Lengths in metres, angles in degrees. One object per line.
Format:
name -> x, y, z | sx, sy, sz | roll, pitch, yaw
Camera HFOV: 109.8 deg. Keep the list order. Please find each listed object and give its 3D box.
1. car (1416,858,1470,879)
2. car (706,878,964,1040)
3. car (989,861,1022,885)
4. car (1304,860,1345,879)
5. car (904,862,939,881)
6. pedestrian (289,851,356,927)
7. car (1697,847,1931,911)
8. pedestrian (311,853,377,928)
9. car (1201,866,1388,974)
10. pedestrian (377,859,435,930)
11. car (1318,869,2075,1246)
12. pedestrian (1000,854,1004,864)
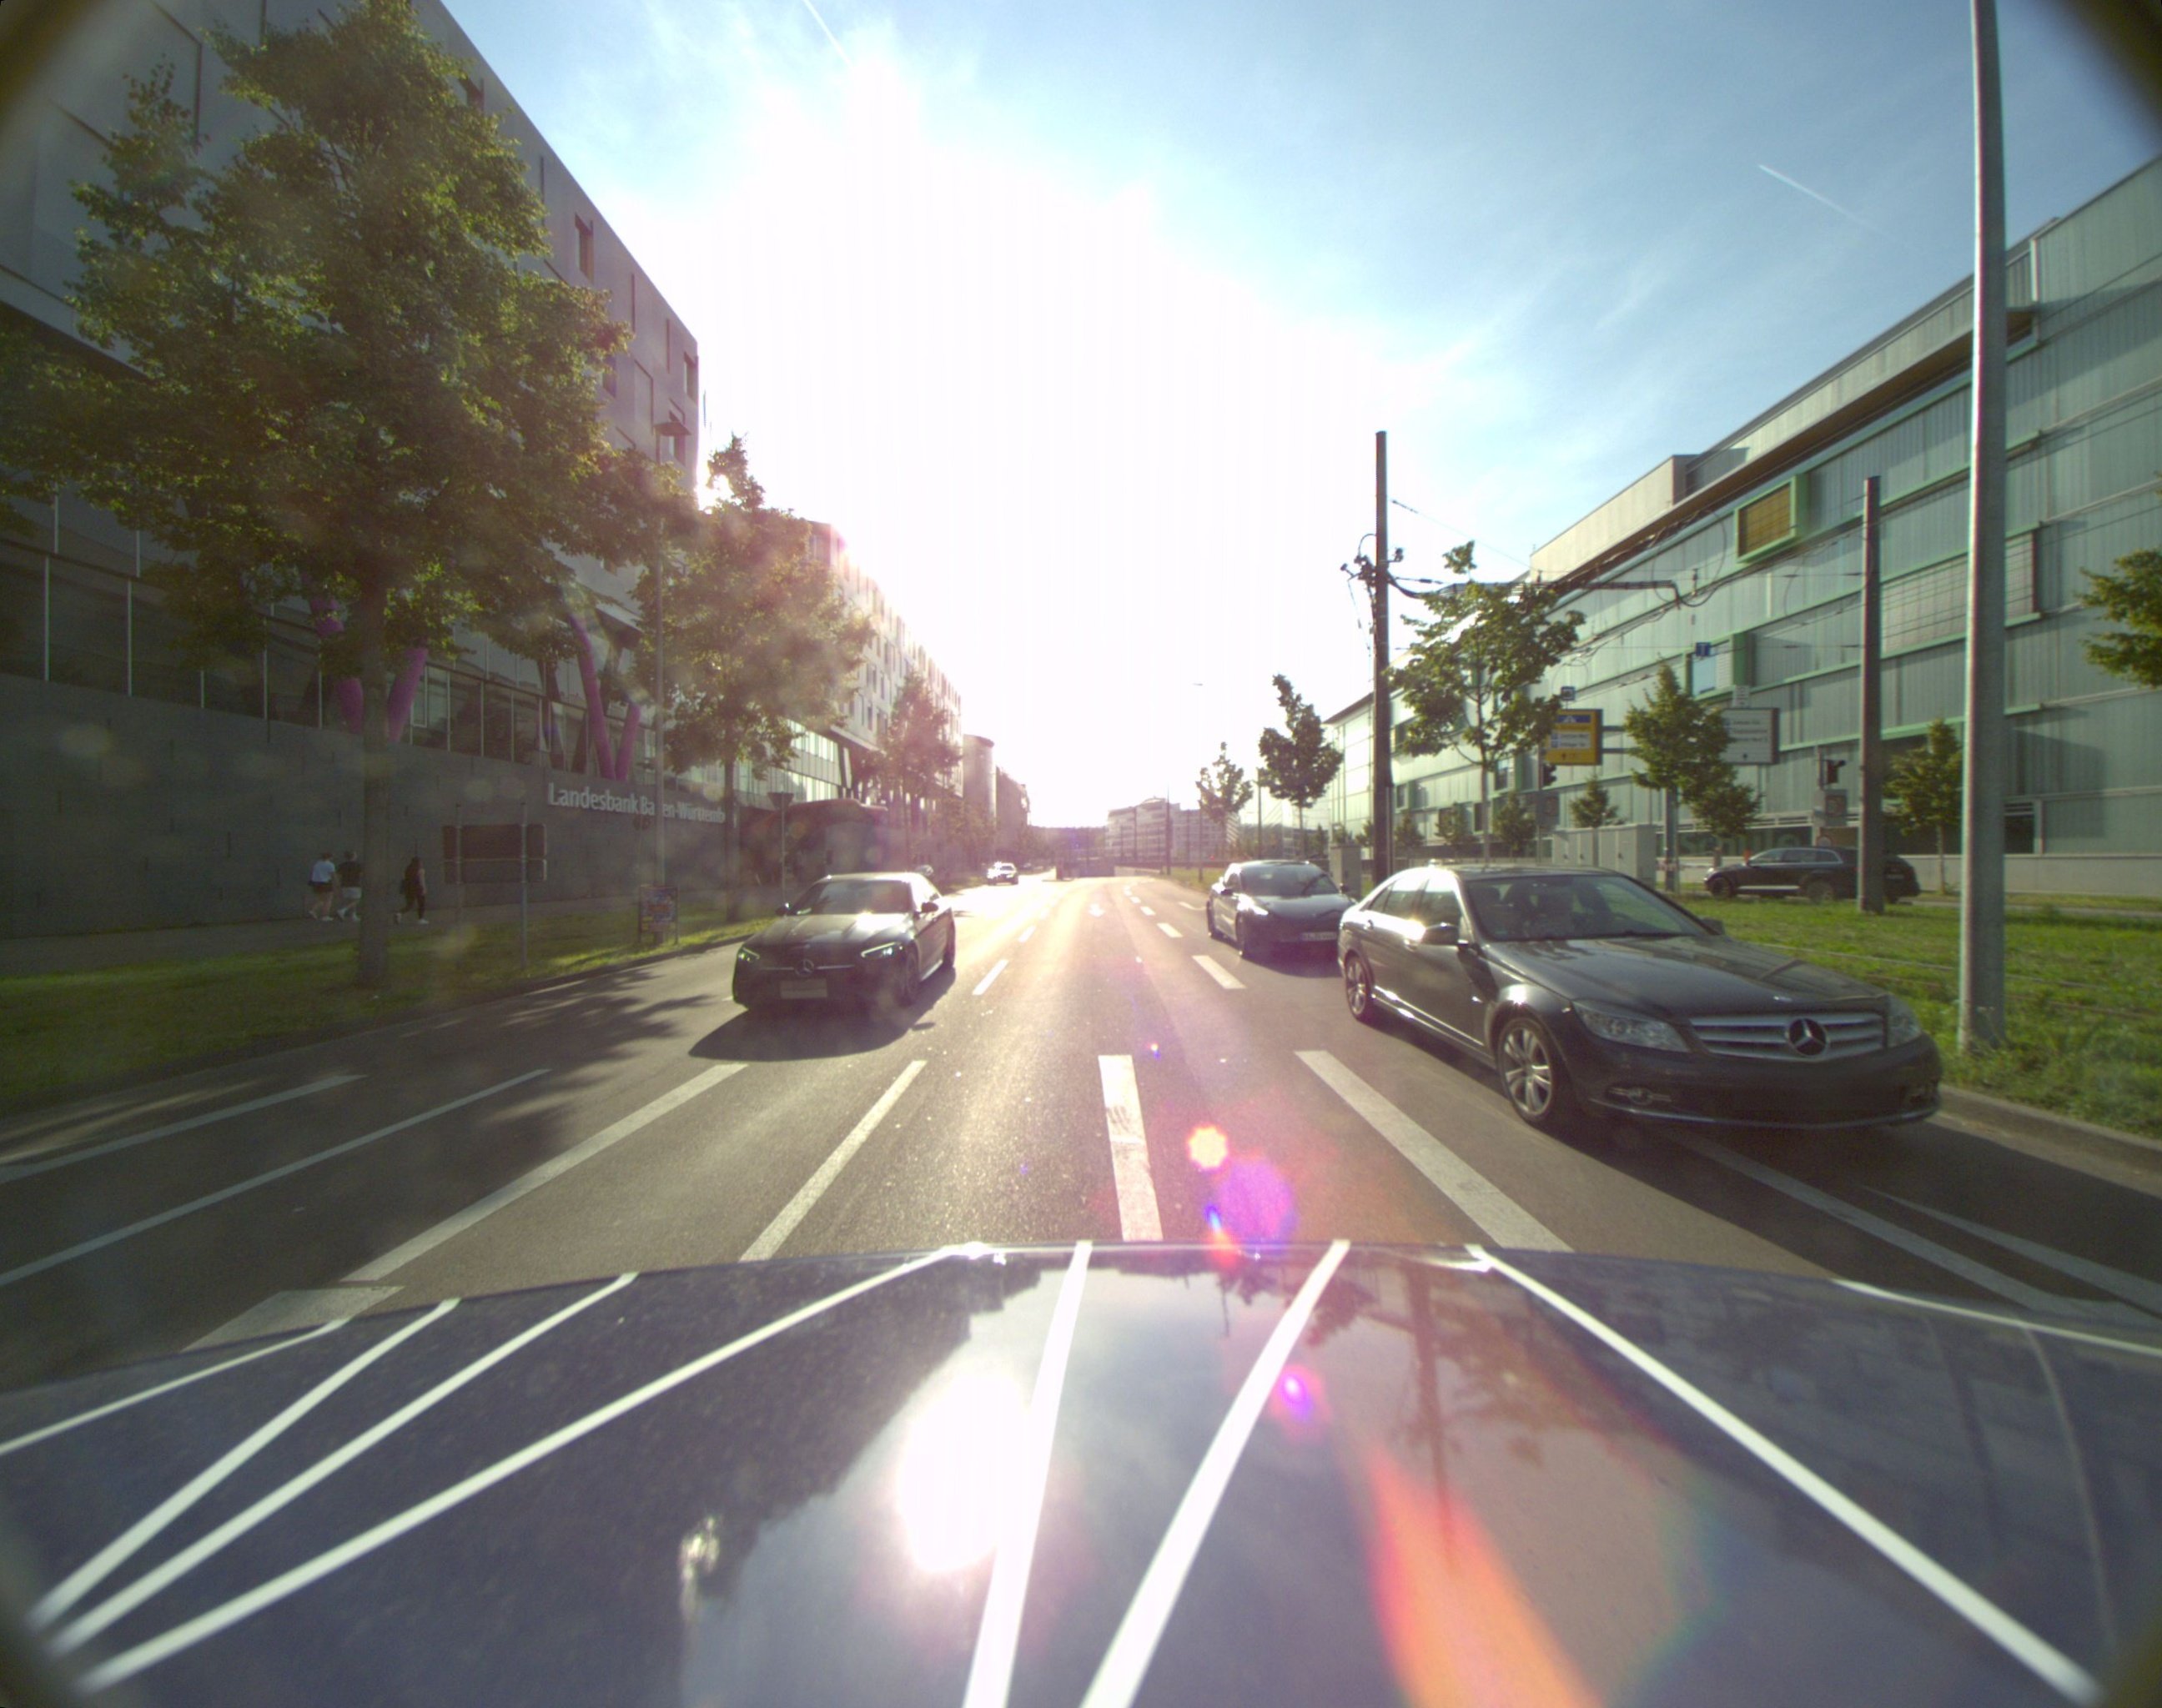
car -> 27.503, 1.086, 57.873 | 1.911, 1.519, 4.441 | 0, 0, -1
car -> -2.747, 1.096, 9.693 | 1.844, 1.441, 4.556 | -2, -1, -1
car -> -5.178, 1.261, 52.356 | 1.895, 1.418, 4.471 | -1, 1, -2
car -> 20.477, 1.290, 64.123 | 1.999, 1.519, 4.312 | 0, 0, -1
car -> -11.599, 1.262, 55.526 | 1.696, 1.382, 4.199 | 0, -1, -1
pedestrian -> -18.593, 0.843, 18.642 | 0.770, 1.814, 0.853 | 1, 0, 0
car -> 21.354, 0.692, 22.538 | 1.999, 1.674, 4.994 | 0, 0, -3
pedestrian -> -18.000, 0.870, 18.567 | 0.756, 1.783, 0.844 | 1, 0, 0
car -> 3.240, 0.931, 12.484 | 1.894, 1.377, 4.335 | -2, -1, 1
pedestrian -> -16.020, 0.945, 18.041 | 0.695, 1.629, 0.736 | 0, 0, 0
car -> 3.264, 0.898, 5.368 | 1.791, 1.470, 4.354 | -2, -1, 0
pedestrian -> -13.381, 0.878, 128.741 | 0.725, 1.776, 0.772 | 0, 0, 0
